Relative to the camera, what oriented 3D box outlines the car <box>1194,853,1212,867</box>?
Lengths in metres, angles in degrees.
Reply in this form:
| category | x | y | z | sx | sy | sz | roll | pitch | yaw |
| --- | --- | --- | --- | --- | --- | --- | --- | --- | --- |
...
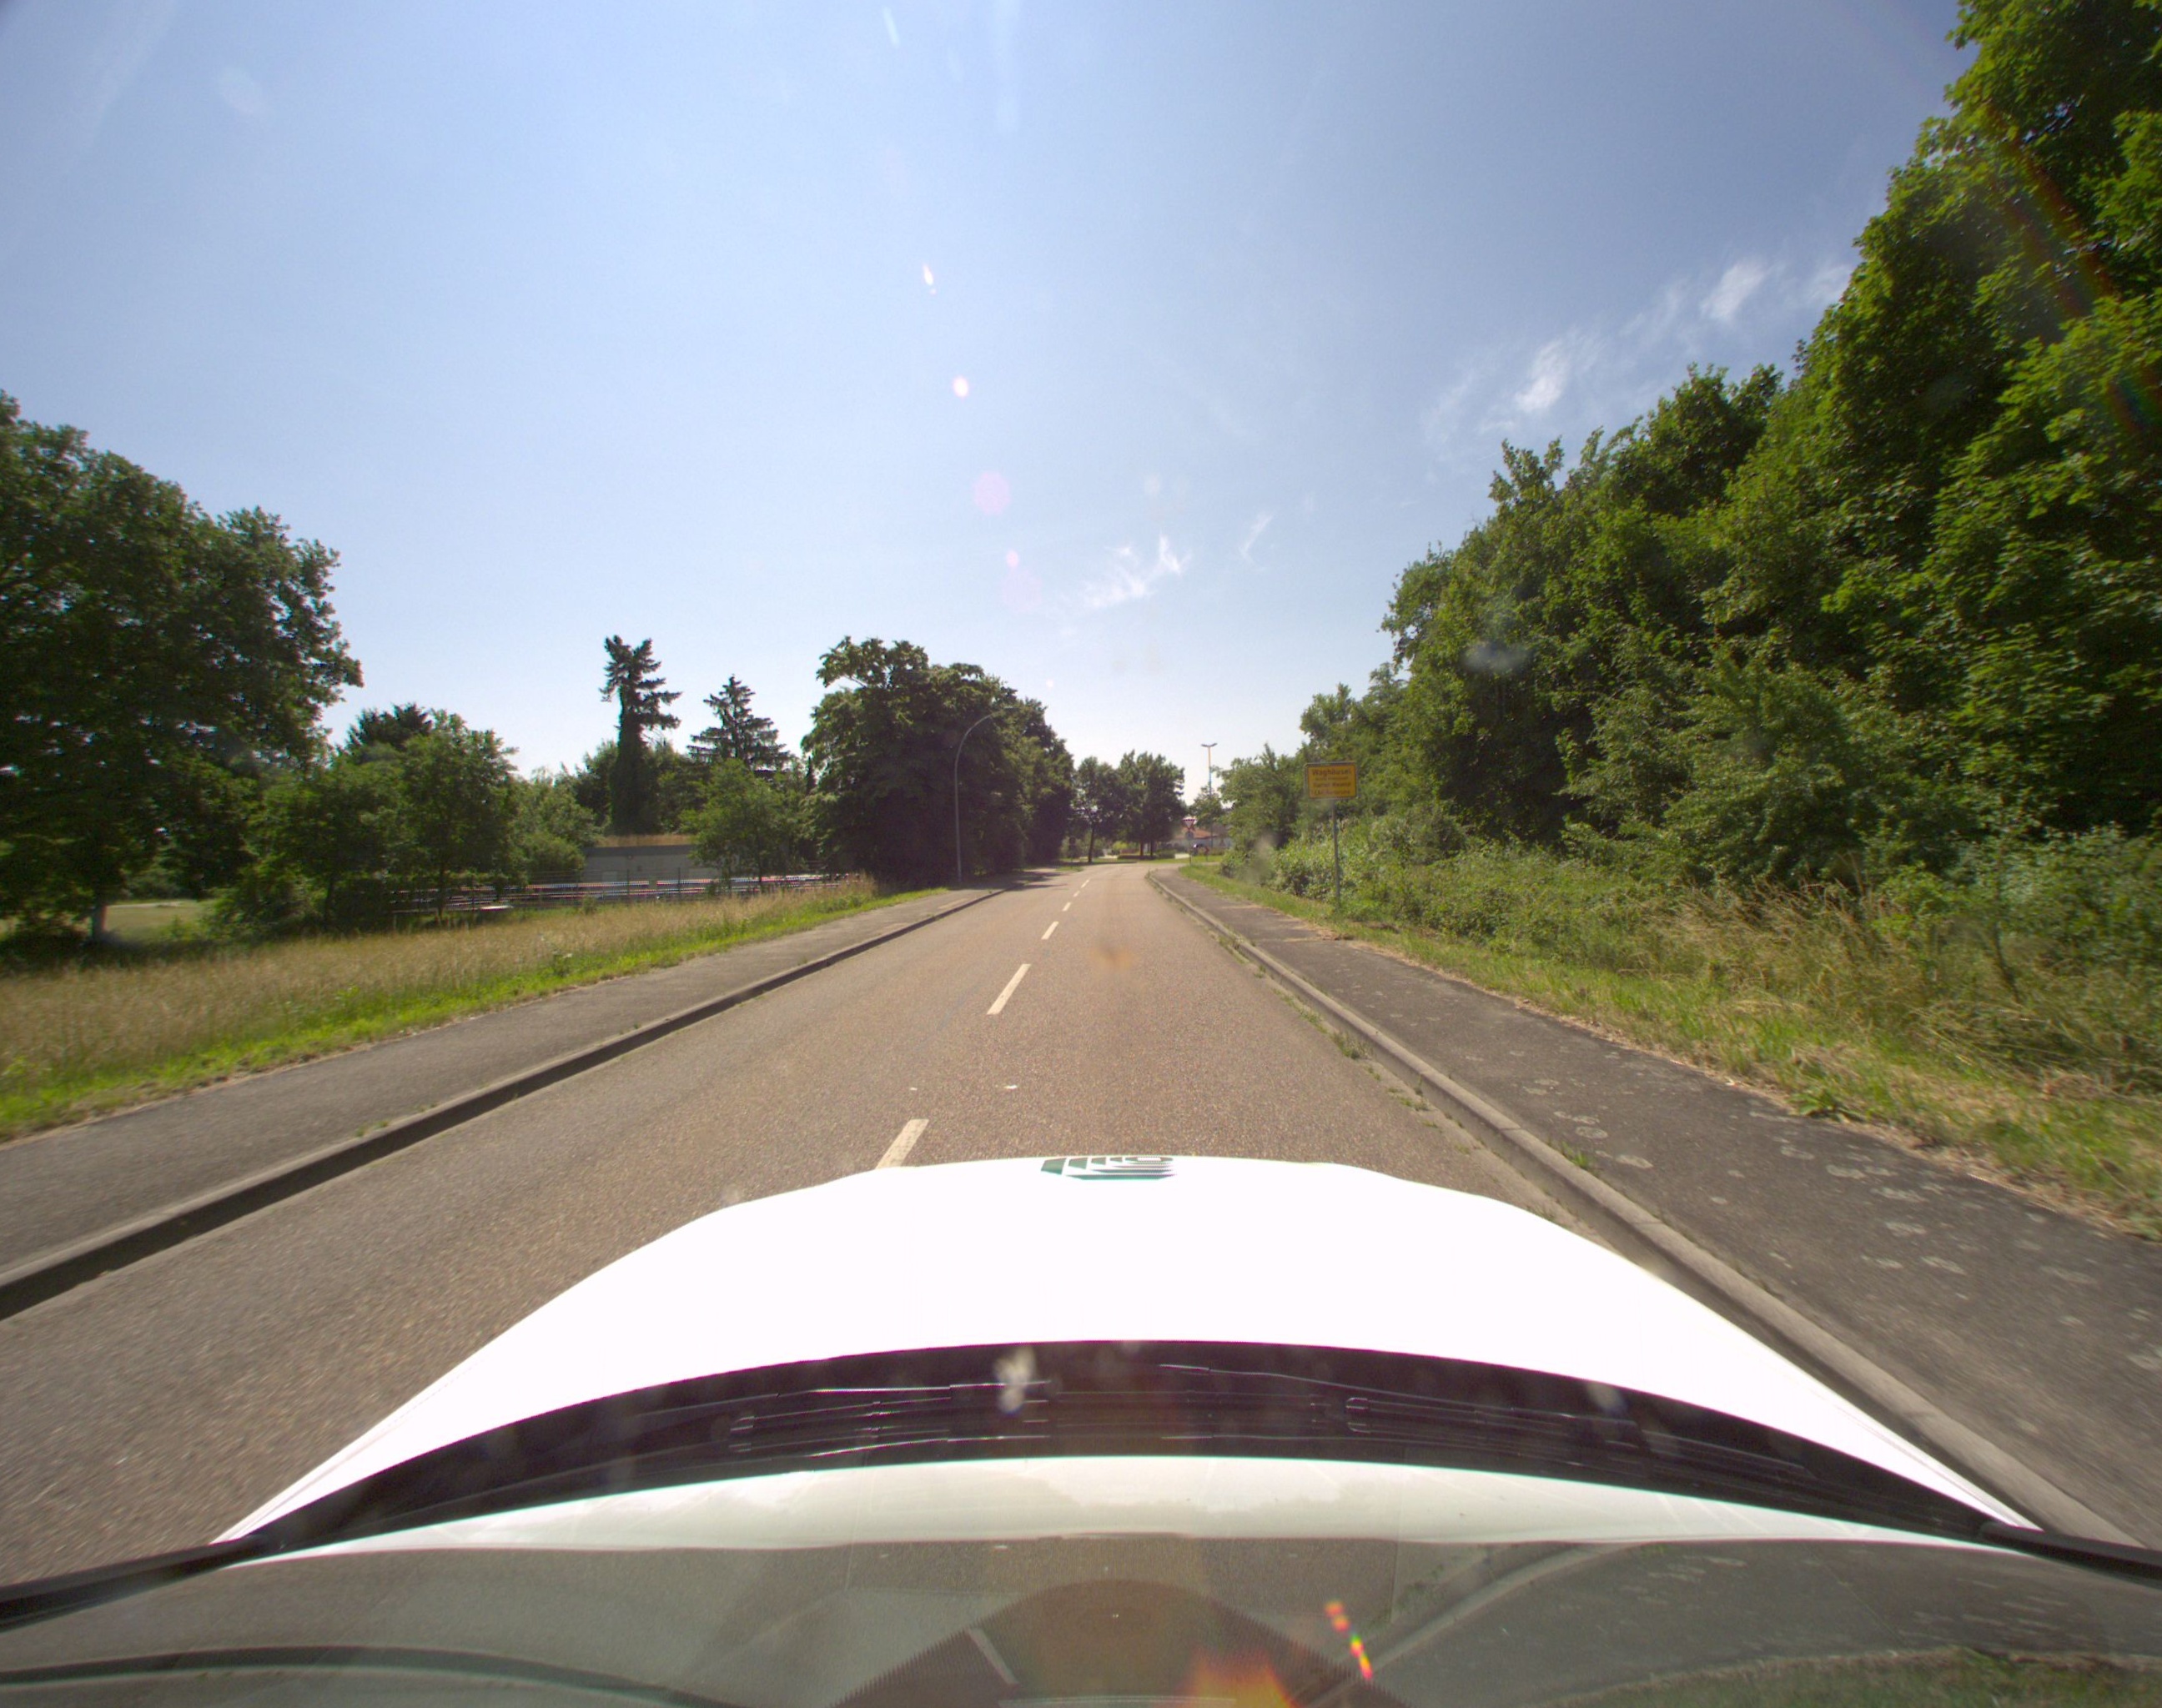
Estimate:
| category | x | y | z | sx | sy | sz | roll | pitch | yaw |
| --- | --- | --- | --- | --- | --- | --- | --- | --- | --- |
| car | 14.048 | 0.722 | 93.885 | 1.621 | 1.486 | 4.004 | -2 | 0 | 3 |
